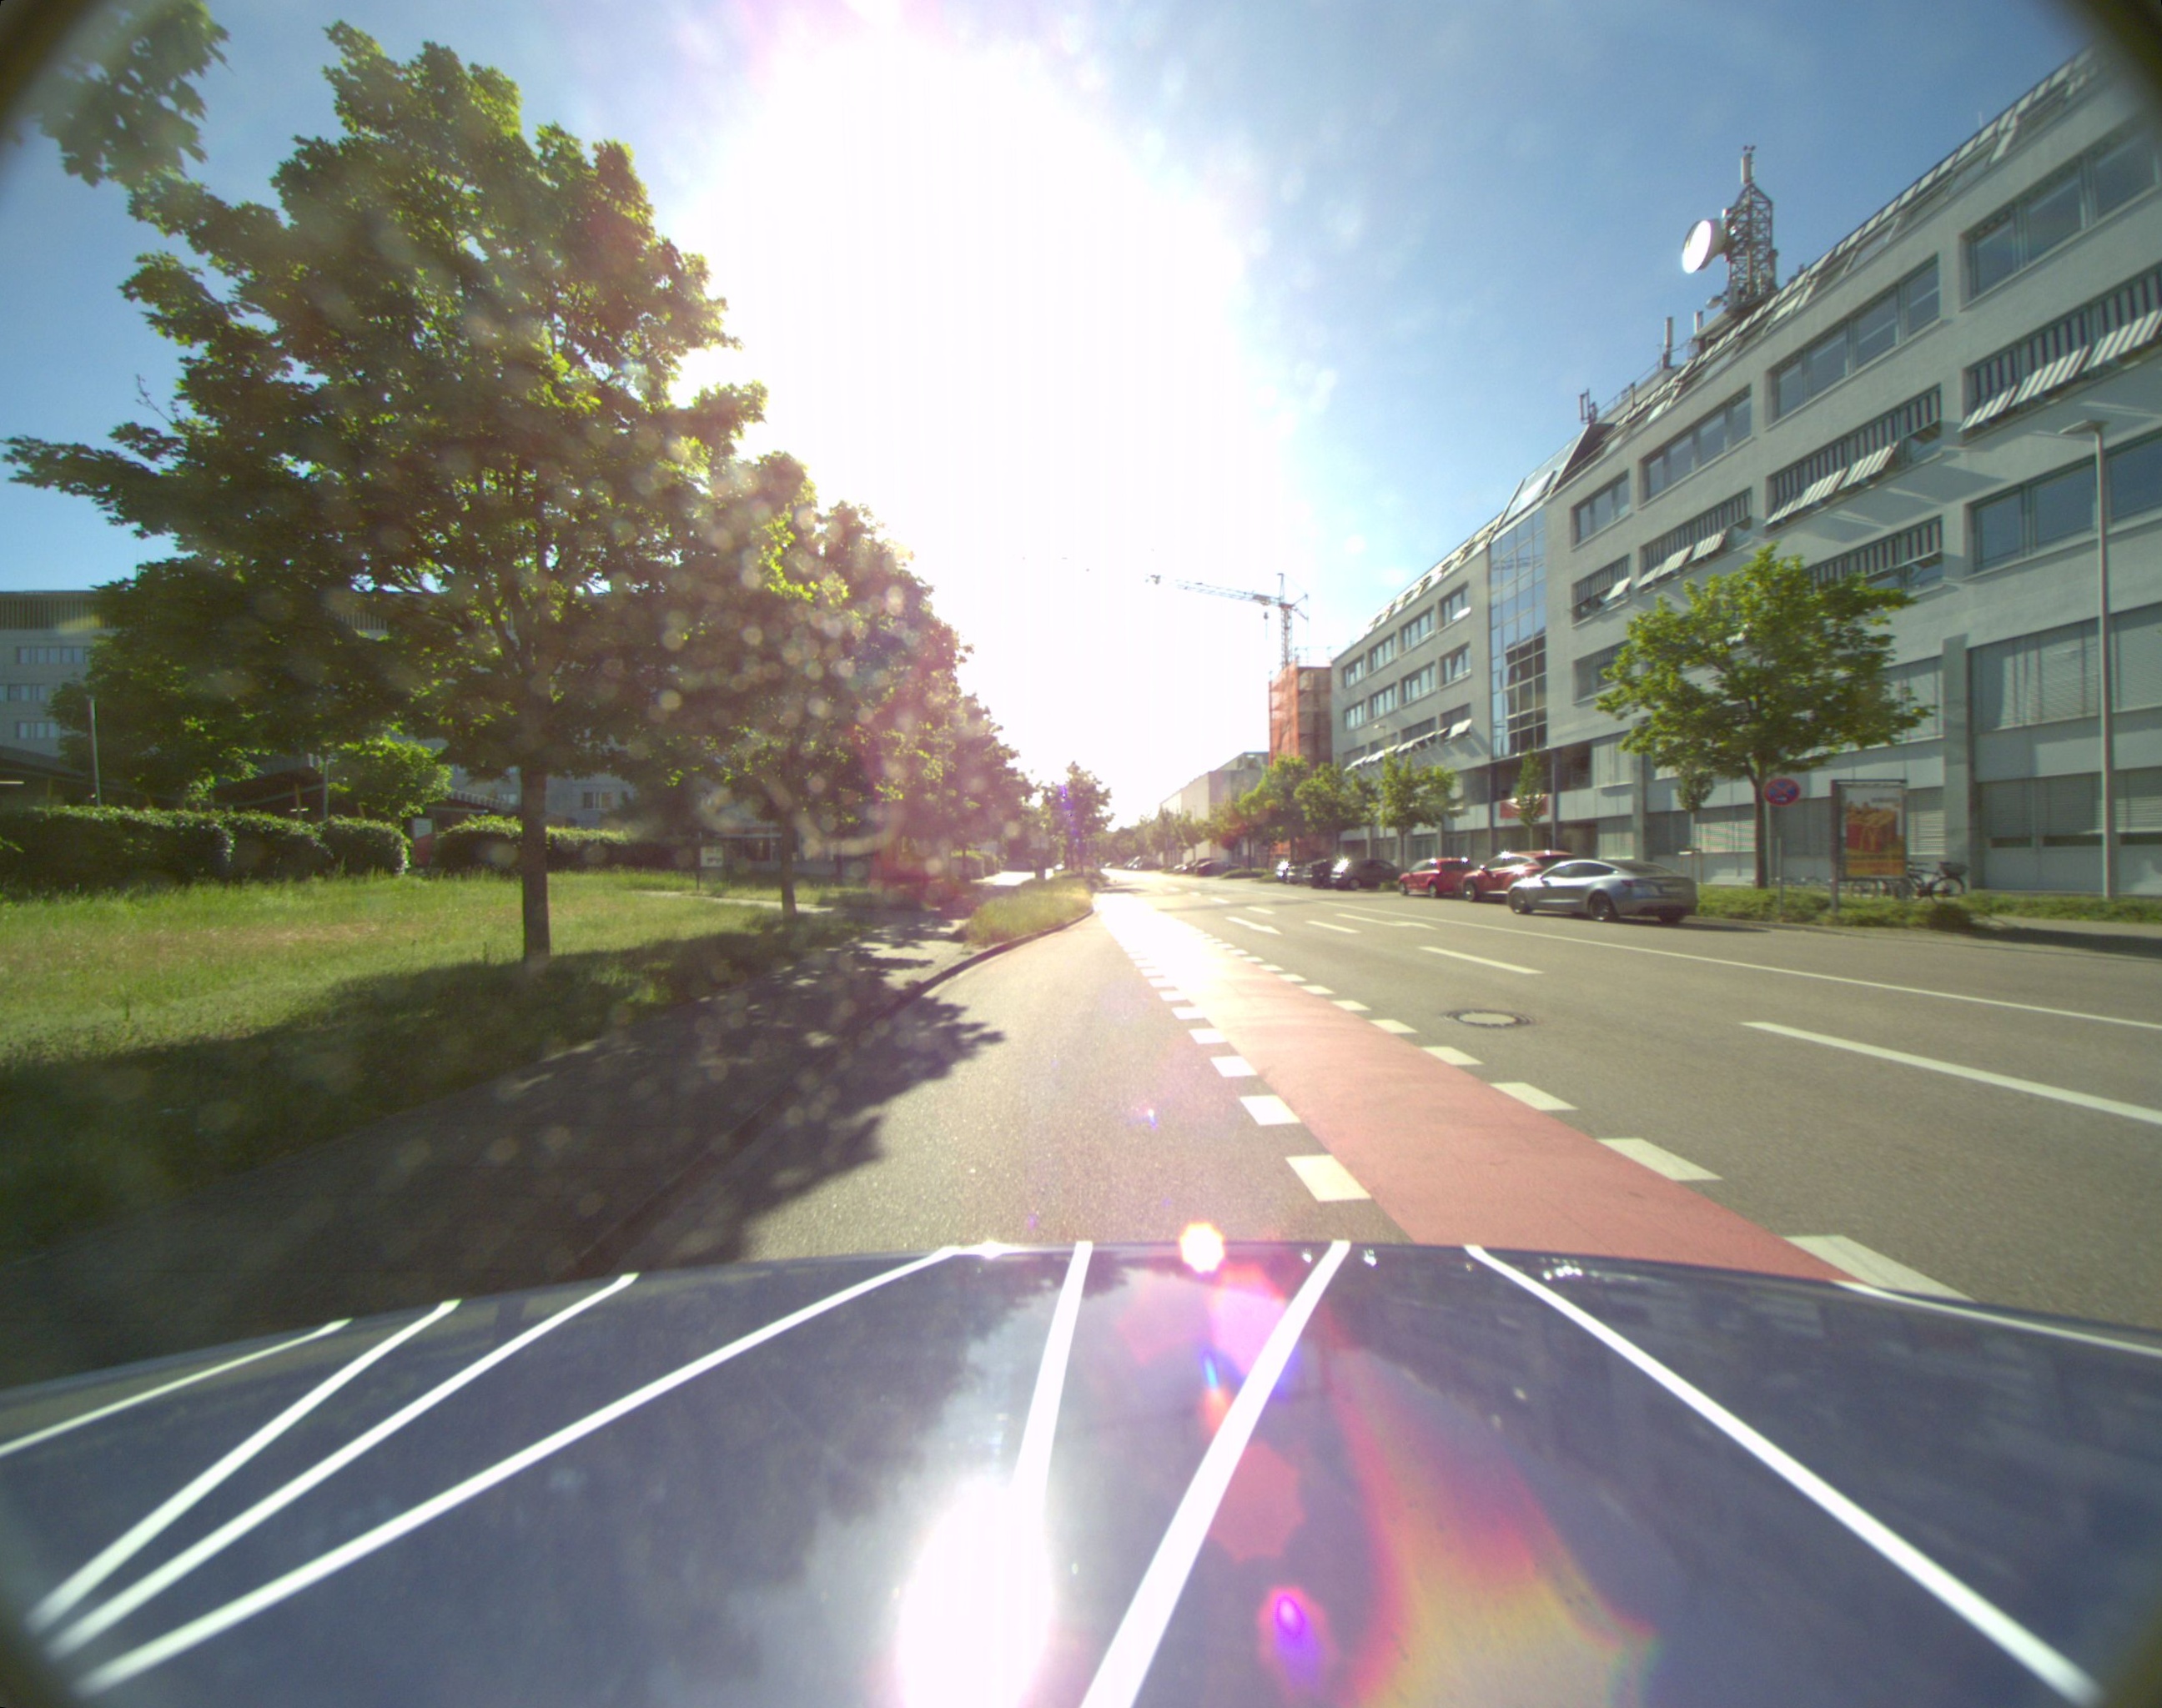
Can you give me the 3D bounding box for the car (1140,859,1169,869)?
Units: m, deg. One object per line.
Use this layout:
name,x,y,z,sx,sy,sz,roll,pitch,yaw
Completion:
car,11.728,1.582,121.014,4.316,1.505,1.718,-3,0,-2

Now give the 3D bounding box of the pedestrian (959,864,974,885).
pedestrian,-6.750,1.203,44.762,0.847,1.210,0.728,1,0,-14

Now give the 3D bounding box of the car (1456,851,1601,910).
car,13.959,0.774,24.032,1.693,1.597,4.308,-3,0,-6

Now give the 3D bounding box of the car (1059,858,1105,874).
car,0.093,1.178,74.789,4.413,1.454,1.895,0,0,-1

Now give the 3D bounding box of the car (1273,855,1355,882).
car,14.147,0.861,46.326,4.397,1.423,1.693,-3,0,-3

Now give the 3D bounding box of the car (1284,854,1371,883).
car,14.280,0.839,44.156,4.397,1.423,1.693,-3,0,-3

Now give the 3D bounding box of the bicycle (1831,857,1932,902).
bicycle,19.734,0.623,18.763,1.770,1.063,0.556,0,0,6

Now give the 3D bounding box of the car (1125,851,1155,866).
car,11.346,0.927,147.524,5.583,2.622,2.010,-3,0,1

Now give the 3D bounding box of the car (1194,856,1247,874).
car,12.870,1.011,70.316,4.398,1.423,1.977,-3,0,-5

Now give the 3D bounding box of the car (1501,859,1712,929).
car,12.337,0.859,18.267,1.693,1.459,4.545,0,0,-4

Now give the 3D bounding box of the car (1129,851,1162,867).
car,11.470,0.919,135.514,5.583,2.468,2.010,-3,0,1

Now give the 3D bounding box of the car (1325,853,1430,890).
car,14.330,0.815,36.788,4.398,1.529,1.693,-3,0,-6

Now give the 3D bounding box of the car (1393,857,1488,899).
car,13.703,0.867,29.218,1.692,1.423,3.871,-3,0,-1

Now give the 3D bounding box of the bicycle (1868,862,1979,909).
bicycle,19.932,0.731,17.994,1.792,1.063,0.622,0,0,6

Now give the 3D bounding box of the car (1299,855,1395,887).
car,13.905,0.886,39.828,4.398,1.423,1.693,-3,0,-4
